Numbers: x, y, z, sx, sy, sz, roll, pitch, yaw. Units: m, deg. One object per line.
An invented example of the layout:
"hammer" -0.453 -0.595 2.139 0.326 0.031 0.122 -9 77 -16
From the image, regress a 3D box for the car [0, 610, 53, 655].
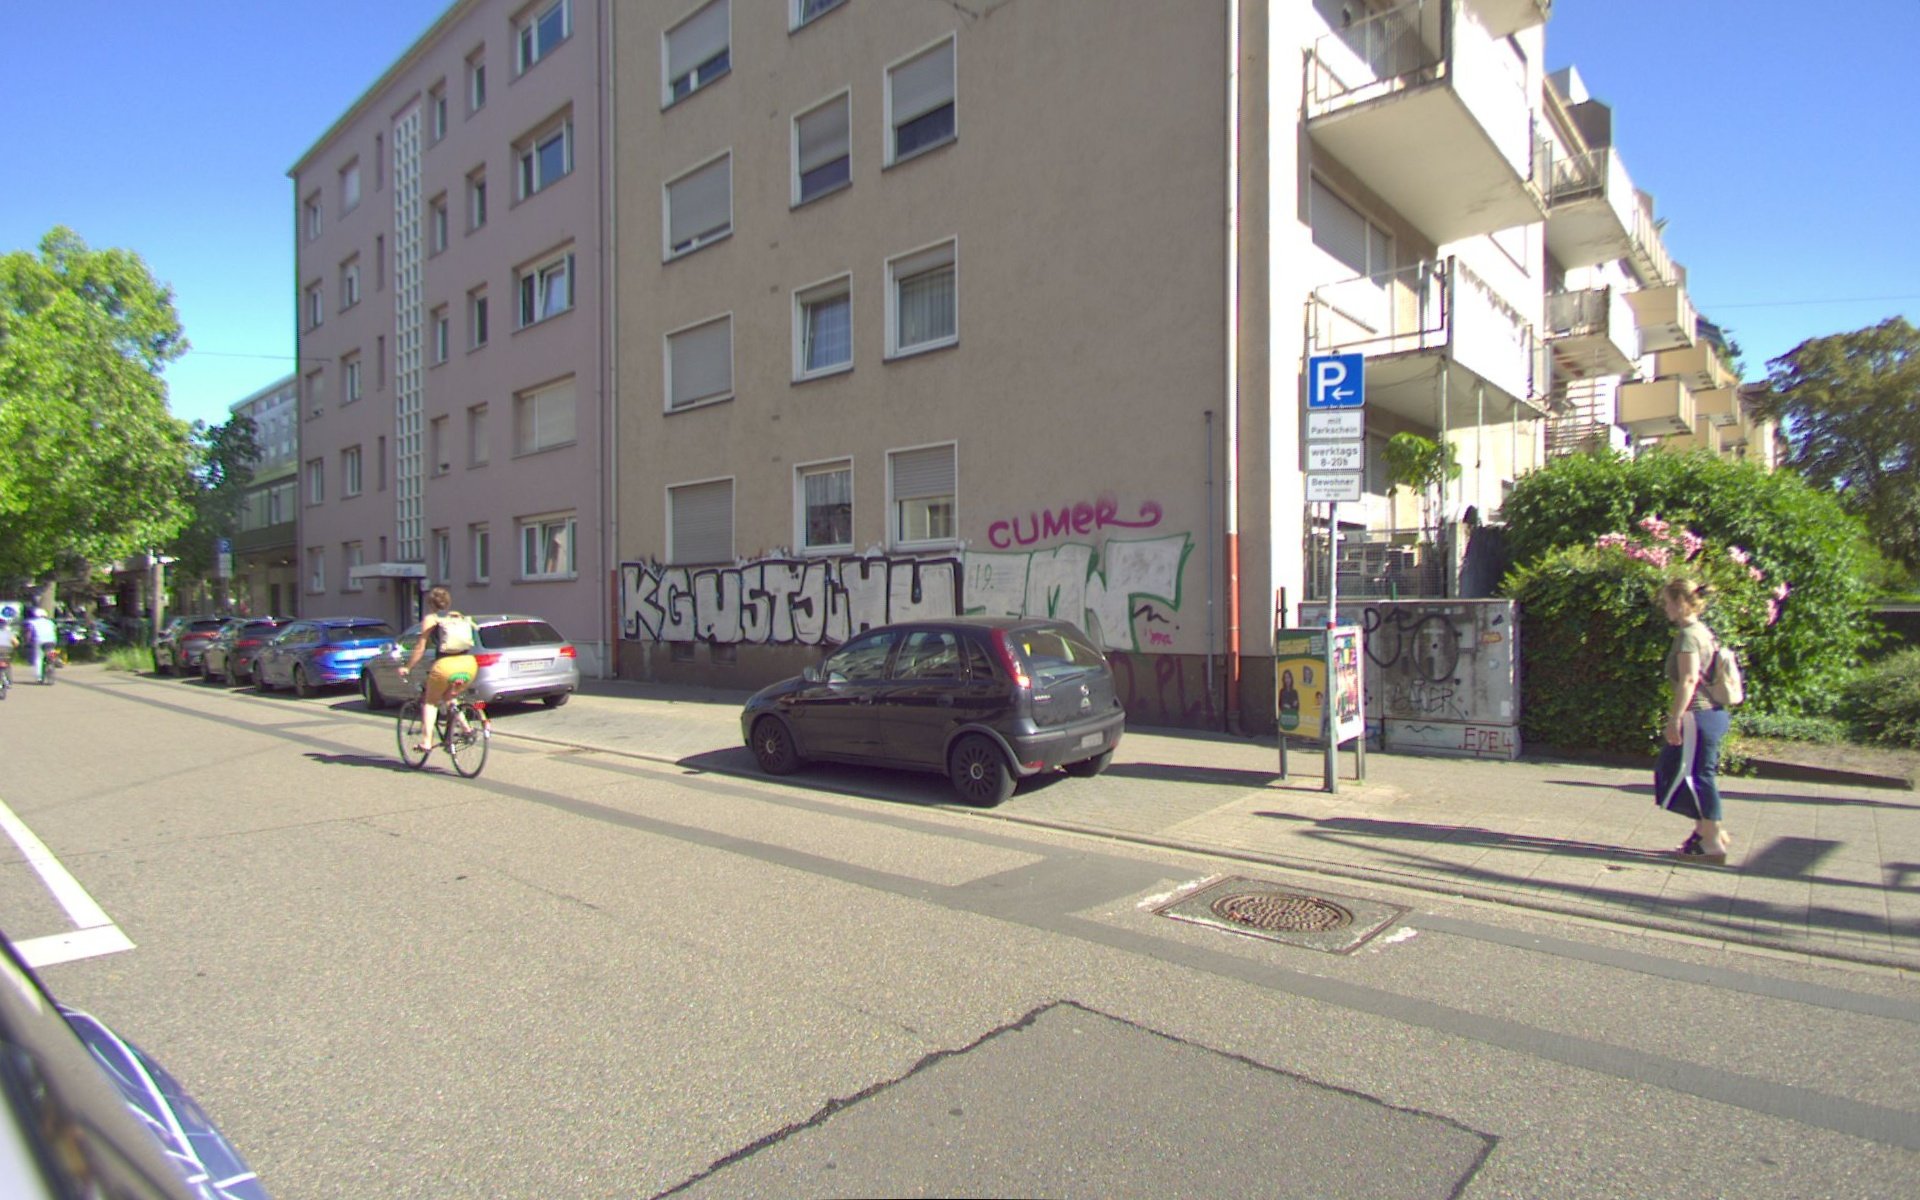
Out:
"car" -45.520 1.539 47.821 1.913 2.058 3.824 -1 -1 43

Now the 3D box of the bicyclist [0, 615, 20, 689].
"bicyclist" -18.645 1.006 19.586 0.787 1.402 0.537 -1 -1 38

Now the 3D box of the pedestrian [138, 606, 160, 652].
"pedestrian" -32.738 1.172 40.858 0.502 1.820 0.615 -2 -1 42

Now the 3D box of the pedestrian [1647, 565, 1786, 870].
"pedestrian" 4.250 0.619 5.687 0.562 1.593 0.526 -1 -1 41

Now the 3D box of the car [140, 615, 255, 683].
"car" -20.373 1.262 26.992 4.157 1.588 1.704 -1 1 43

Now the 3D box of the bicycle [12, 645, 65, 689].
"bicycle" -21.522 1.540 23.628 1.933 0.959 0.672 -1 -3 42

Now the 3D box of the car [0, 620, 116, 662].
"car" -36.958 1.621 41.093 1.913 1.564 3.943 -1 -1 43

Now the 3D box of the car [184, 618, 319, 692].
"car" -16.450 1.210 23.419 4.157 1.478 1.704 -1 1 43

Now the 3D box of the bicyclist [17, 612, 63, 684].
"bicyclist" -21.477 1.120 23.623 0.898 1.643 0.672 -2 -3 42

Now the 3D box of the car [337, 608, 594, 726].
"car" -7.851 0.952 15.846 4.798 1.514 1.805 -1 1 40

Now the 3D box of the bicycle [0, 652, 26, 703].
"bicycle" -18.526 1.474 19.497 1.824 0.909 0.537 -1 -1 39

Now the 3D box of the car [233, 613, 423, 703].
"car" -12.706 1.087 20.206 4.798 1.514 1.805 -1 1 40

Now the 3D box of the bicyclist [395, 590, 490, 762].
"bicyclist" -4.847 0.680 9.475 0.774 1.532 0.537 -2 -1 42

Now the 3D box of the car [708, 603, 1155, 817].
"car" -0.387 0.820 9.087 3.853 1.459 1.674 -1 1 40

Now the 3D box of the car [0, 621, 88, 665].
"car" -35.406 1.619 37.960 1.913 1.564 3.943 -1 -1 43

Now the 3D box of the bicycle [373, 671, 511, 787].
"bicycle" -4.905 1.168 9.530 1.825 0.909 0.537 -1 -1 42
